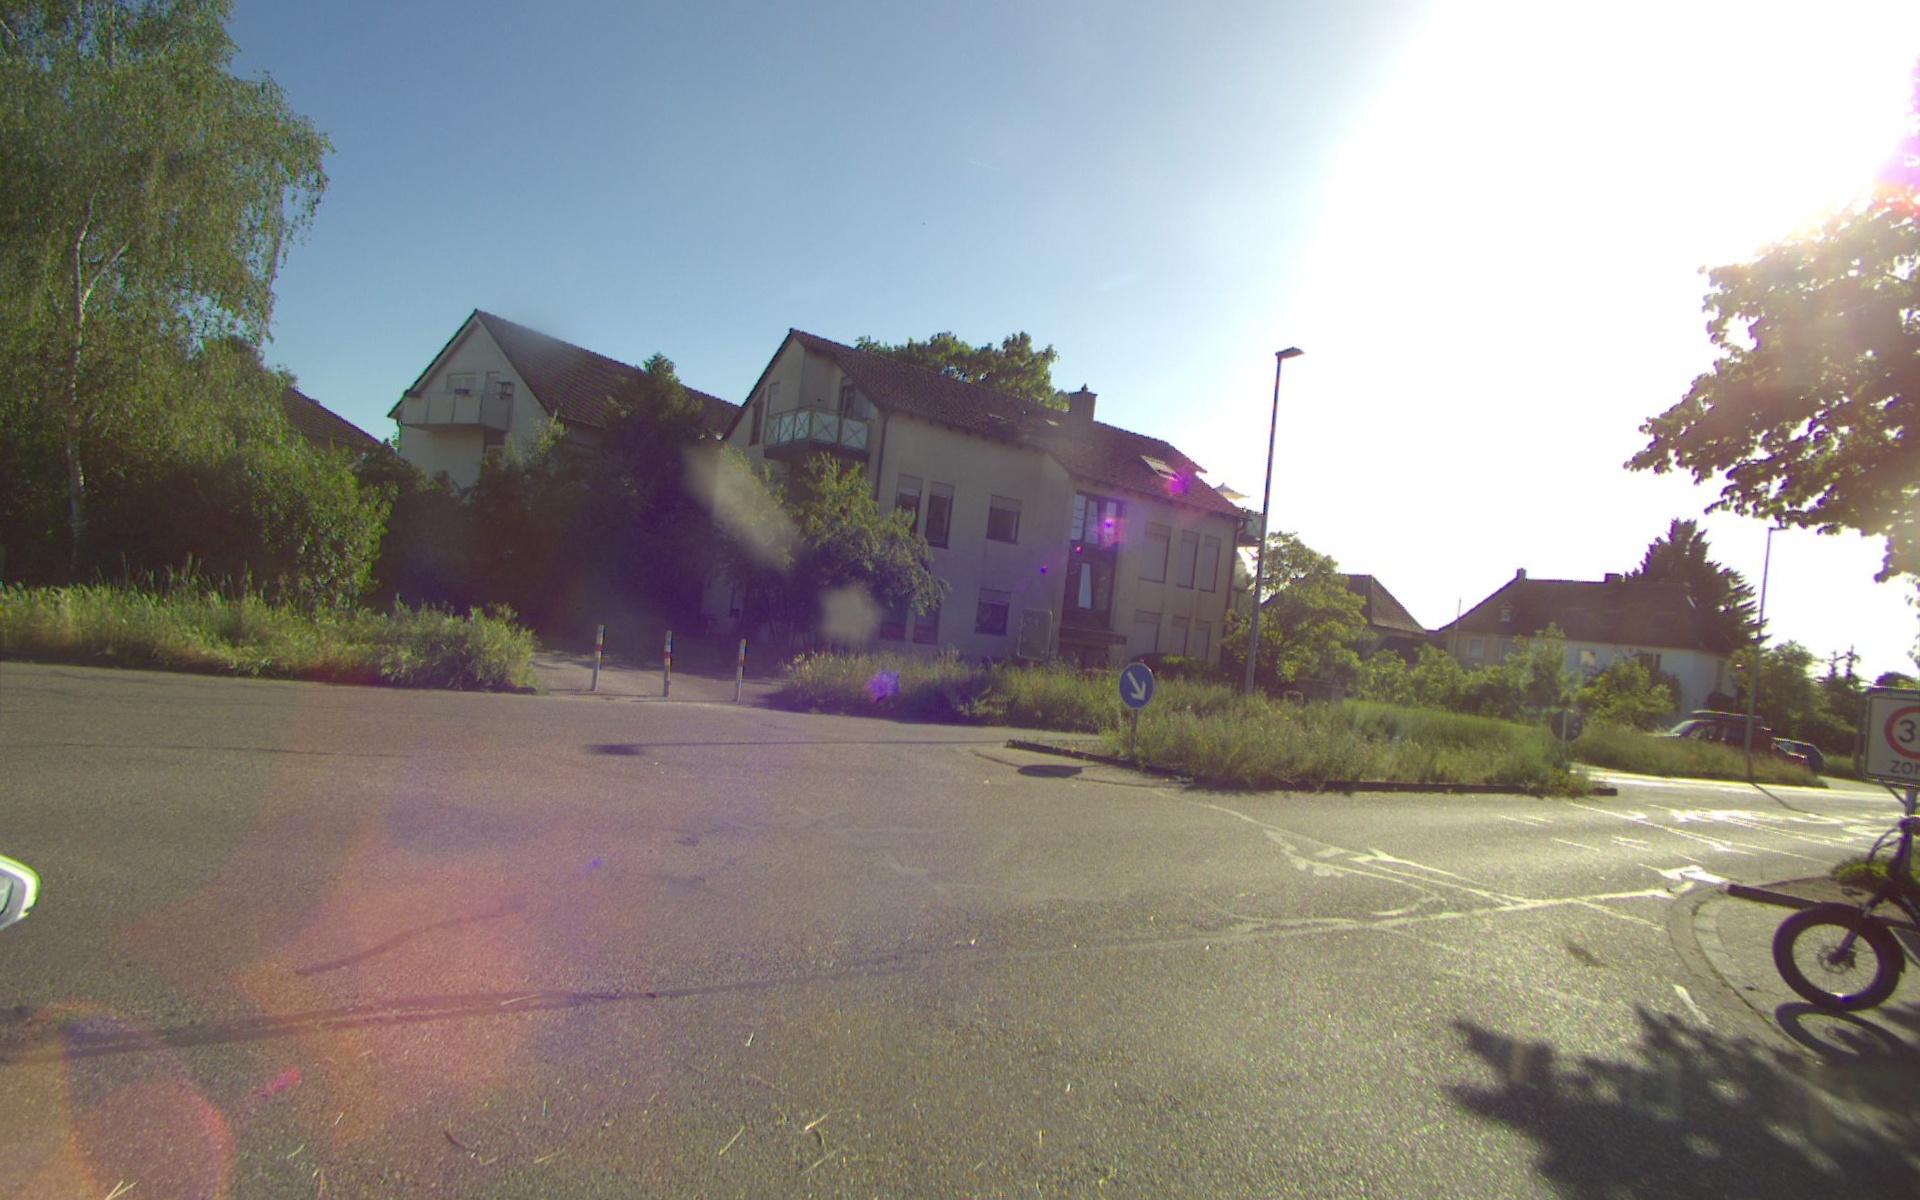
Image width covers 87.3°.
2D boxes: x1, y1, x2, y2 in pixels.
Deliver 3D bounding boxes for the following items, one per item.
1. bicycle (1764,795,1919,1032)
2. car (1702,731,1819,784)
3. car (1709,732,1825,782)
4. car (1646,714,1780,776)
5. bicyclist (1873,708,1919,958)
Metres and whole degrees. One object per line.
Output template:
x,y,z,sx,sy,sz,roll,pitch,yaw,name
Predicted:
5.756,1.863,5.589,1.867,1.159,0.457,7,0,33,bicycle
31.337,6.149,39.506,3.340,1.458,1.612,6,-1,34,car
33.292,6.446,41.629,3.479,1.433,1.677,6,-1,34,car
28.627,5.485,38.358,3.583,1.737,1.749,6,-1,20,car
5.779,1.335,5.610,0.825,1.363,0.637,5,-1,32,bicyclist
